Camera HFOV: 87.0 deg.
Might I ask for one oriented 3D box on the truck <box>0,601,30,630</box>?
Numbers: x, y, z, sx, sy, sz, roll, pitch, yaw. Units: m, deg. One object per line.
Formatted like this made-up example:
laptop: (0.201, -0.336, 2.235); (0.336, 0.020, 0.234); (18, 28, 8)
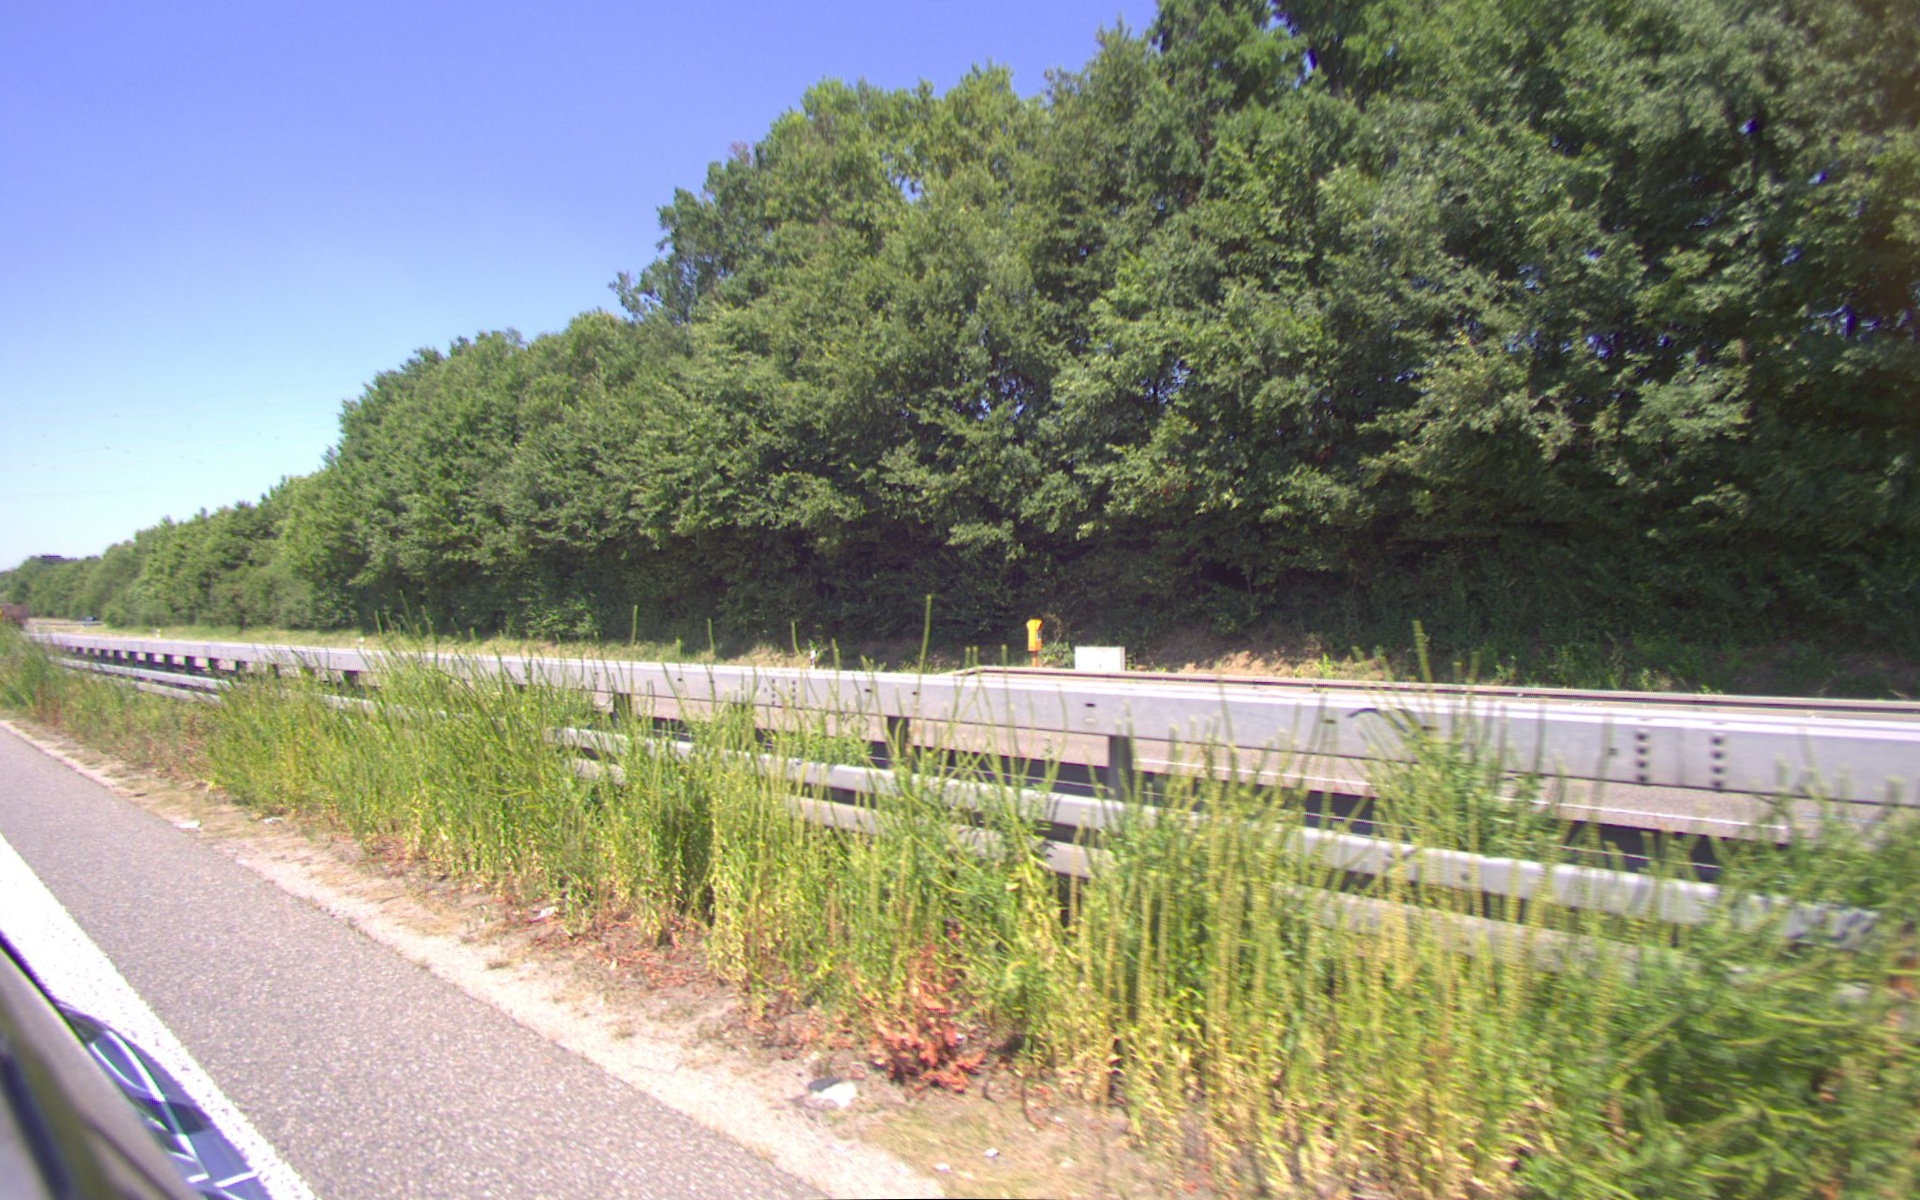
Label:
truck: (-129.134, 2.011, 137.552); (11.152, 3.766, 2.754); (0, 0, 41)
